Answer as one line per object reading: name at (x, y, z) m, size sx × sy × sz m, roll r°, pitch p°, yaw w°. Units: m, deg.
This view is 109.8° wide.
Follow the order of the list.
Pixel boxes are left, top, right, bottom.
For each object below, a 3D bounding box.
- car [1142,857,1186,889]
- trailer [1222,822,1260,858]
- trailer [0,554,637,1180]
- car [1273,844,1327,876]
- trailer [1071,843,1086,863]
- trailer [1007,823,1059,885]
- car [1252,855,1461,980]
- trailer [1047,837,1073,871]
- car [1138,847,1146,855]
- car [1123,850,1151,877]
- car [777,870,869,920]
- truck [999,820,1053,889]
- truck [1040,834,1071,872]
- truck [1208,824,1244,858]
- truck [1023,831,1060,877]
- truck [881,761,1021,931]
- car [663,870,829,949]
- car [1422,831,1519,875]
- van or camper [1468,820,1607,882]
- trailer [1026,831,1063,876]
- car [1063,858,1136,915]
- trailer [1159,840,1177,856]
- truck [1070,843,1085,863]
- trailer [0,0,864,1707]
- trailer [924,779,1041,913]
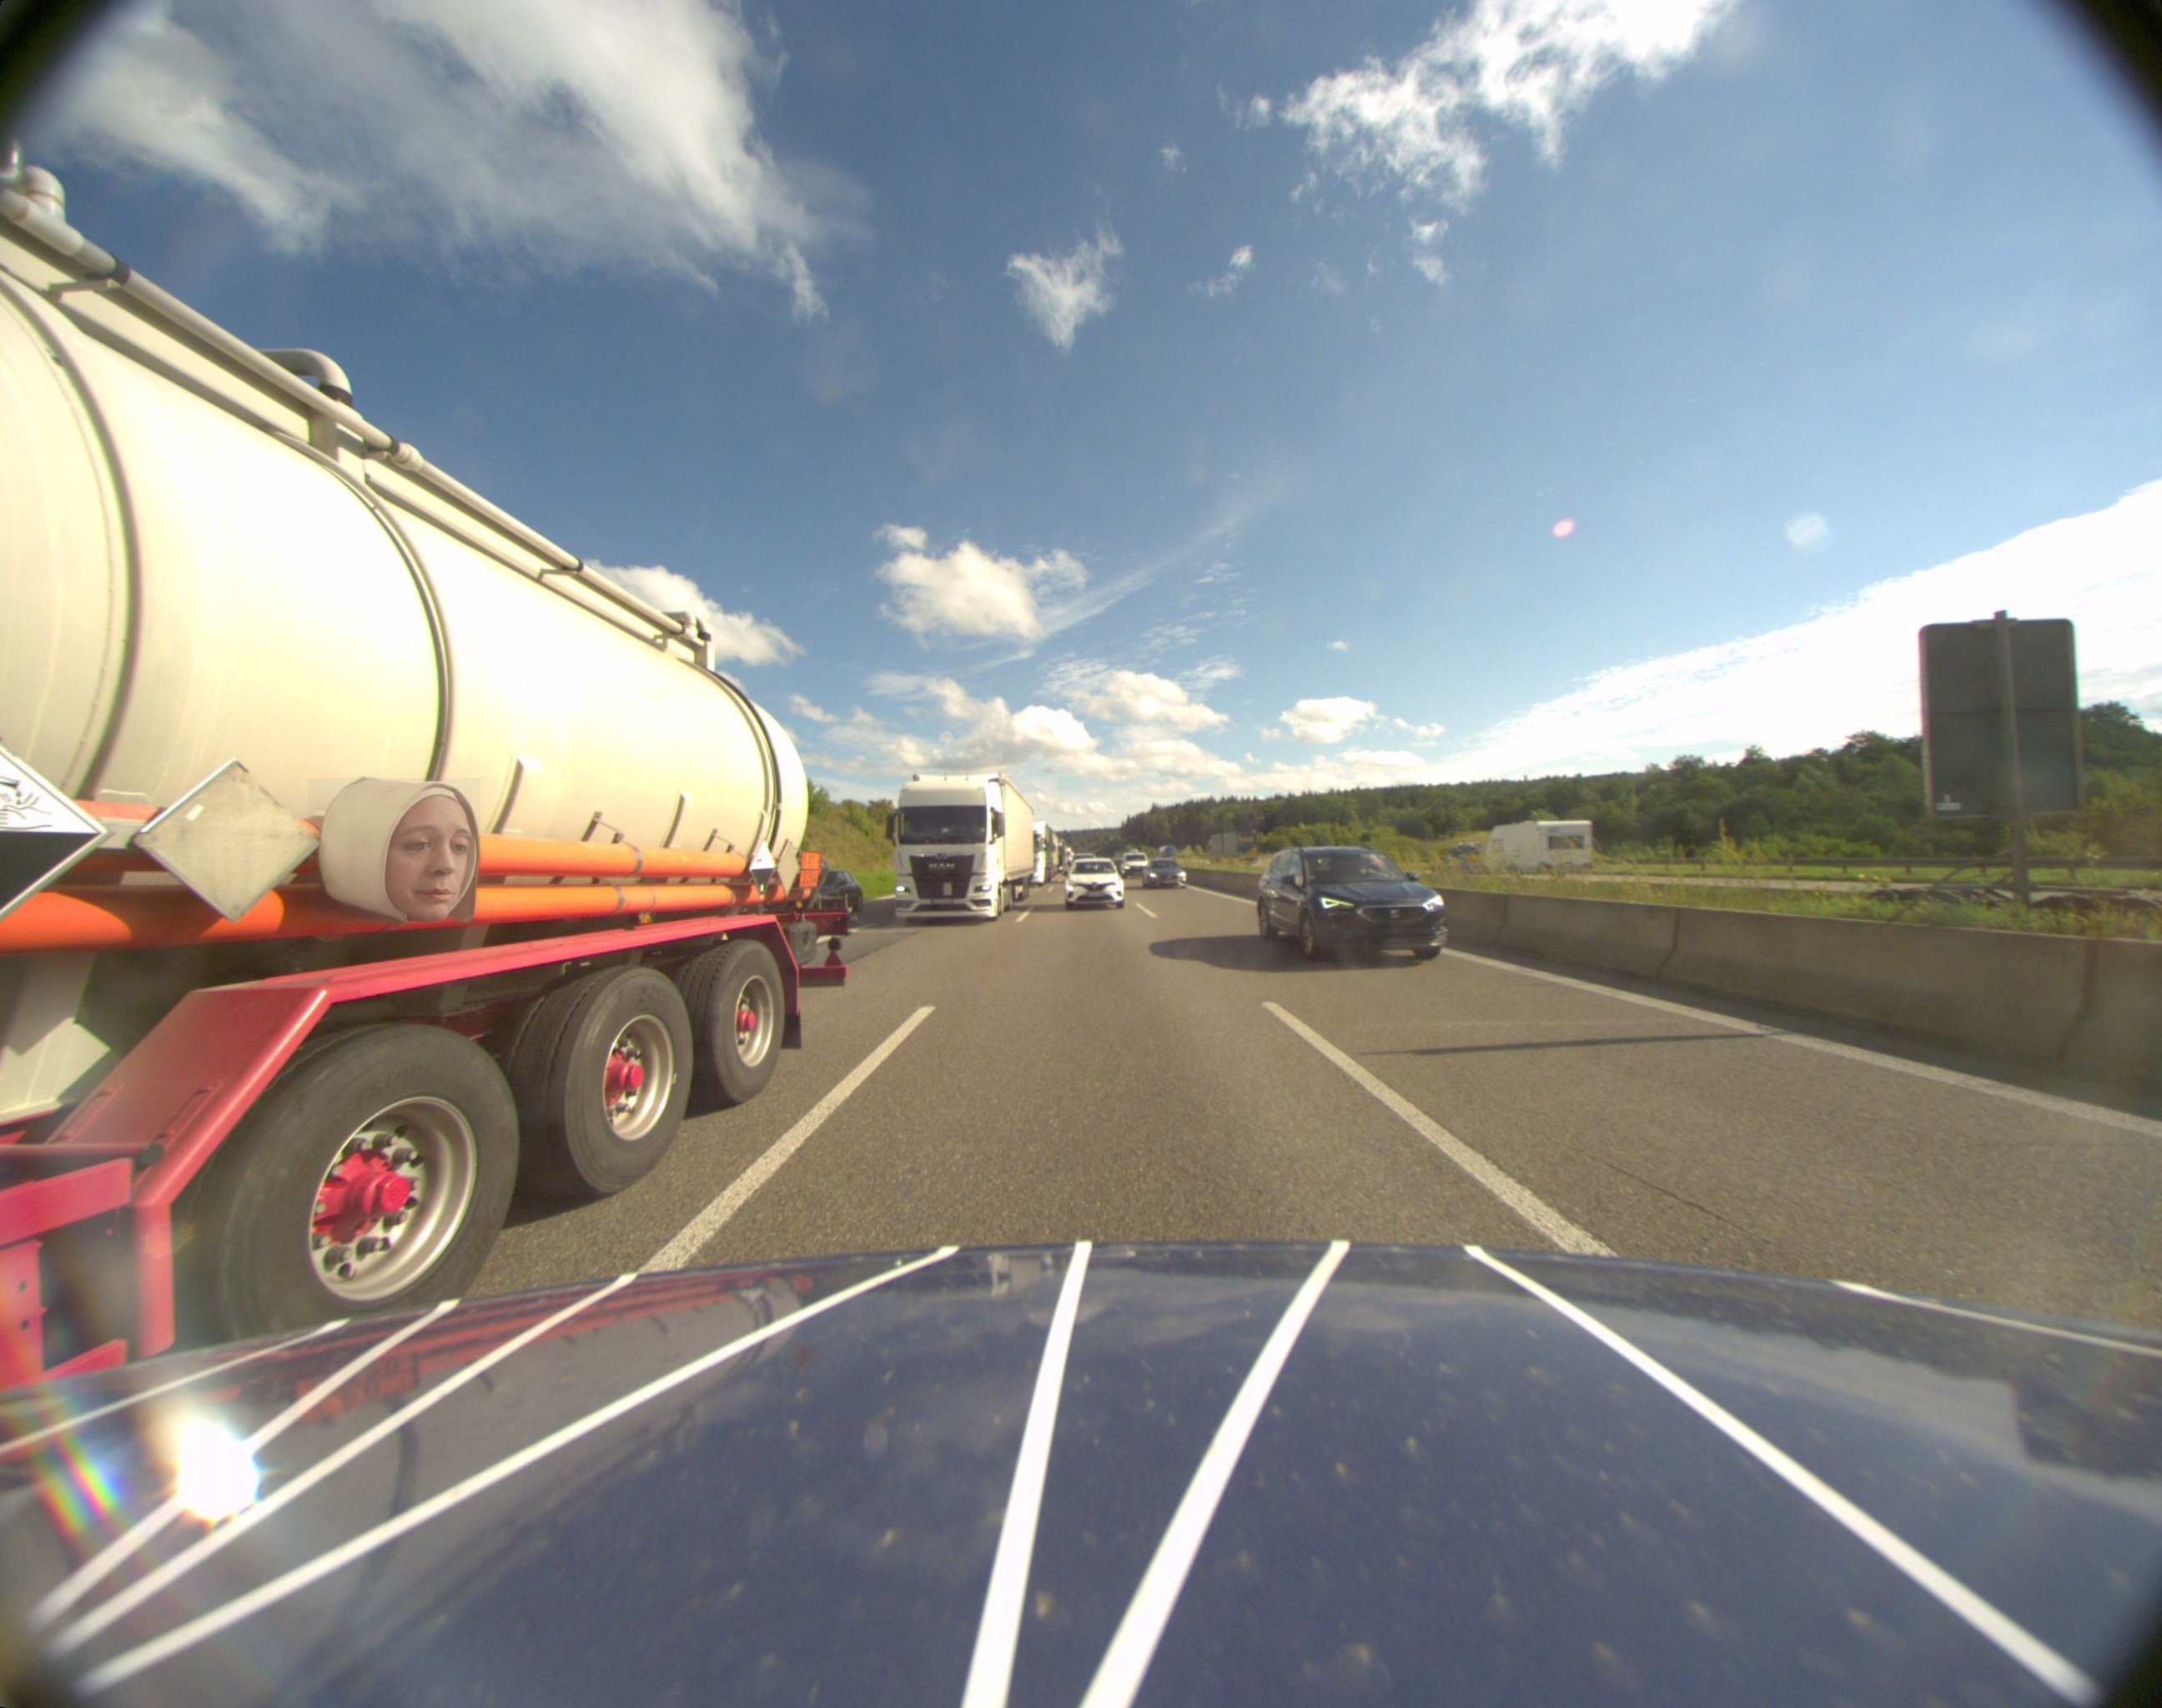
car at (4.152, 0.922, 38.457) m, size 1.779 × 1.451 × 4.158 m, roll -2°, pitch 0°, yaw 1°
trailer at (19.579, -1.680, 93.529) m, size 2.732 × 4.219 × 8.551 m, roll -2°, pitch 0°, yaw -1°
trailer at (-7.451, 0.089, 5.064) m, size 2.547 × 3.577 × 10.625 m, roll -1°, pitch 0°, yaw 1°
car at (11.768, 0.299, 41.114) m, size 1.833 × 1.596 × 3.809 m, roll -2°, pitch 0°, yaw 1°
trailer at (-0.425, -0.262, 164.878) m, size 2.652 × 3.911 × 11.175 m, roll -5°, pitch 0°, yaw 2°
trailer at (-3.241, -0.069, 54.890) m, size 2.668 × 3.846 × 13.393 m, roll -2°, pitch 0°, yaw 0°
car at (4.034, 0.826, 11.901) m, size 1.779 × 1.533 × 4.158 m, roll -2°, pitch 0°, yaw 1°
trailer at (-2.663, 0.011, 99.306) m, size 2.722 × 3.937 × 8.712 m, roll -5°, pitch 0°, yaw 1°
car at (15.838, -0.772, 197.416) m, size 1.764 × 1.871 × 4.000 m, roll -5°, pitch 0°, yaw 0°
car at (4.236, 0.705, 57.942) m, size 1.779 × 1.923 × 4.214 m, roll -2°, pitch 0°, yaw 1°
car at (-8.074, 1.250, 24.137) m, size 1.637 × 1.344 × 3.738 m, roll -2°, pitch 0°, yaw 0°
truck at (-3.308, 0.007, 47.375) m, size 2.653 × 3.846 × 6.995 m, roll -2°, pitch 1°, yaw 0°
truck at (-2.905, -0.073, 89.818) m, size 2.747 × 4.014 × 10.204 m, roll -5°, pitch 0°, yaw 2°
truck at (19.500, -1.716, 102.978) m, size 2.718 × 4.219 × 10.342 m, roll -2°, pitch 0°, yaw -1°
truck at (-3.516, -0.024, 69.066) m, size 2.809 × 3.916 × 5.825 m, roll -3°, pitch 1°, yaw 1°
truck at (-3.395, -0.217, 21.524) m, size 2.715 × 4.036 × 6.361 m, roll -1°, pitch 1°, yaw 0°
car at (-7.829, 1.226, 18.362) m, size 1.905 × 1.504 × 4.737 m, roll -2°, pitch 0°, yaw 0°
car at (19.694, -0.064, 38.701) m, size 2.245 × 2.045 × 5.082 m, roll -2°, pitch 0°, yaw 0°
van or camper at (19.699, -0.142, 33.194) m, size 2.465 × 2.400 × 5.851 m, roll -2°, pitch 0°, yaw -1°
trailer at (-3.482, -0.069, 75.243) m, size 2.799 × 3.916 × 13.068 m, roll -3°, pitch 0°, yaw 0°
car at (0.611, 0.944, 24.274) m, size 2.026 × 1.510 × 5.299 m, roll -3°, pitch 0°, yaw 2°
trailer at (19.332, -1.344, 169.397) m, size 2.327 × 3.265 × 10.874 m, roll -5°, pitch 0°, yaw 0°
truck at (-0.635, -0.224, 158.913) m, size 2.655 × 3.901 × 6.943 m, roll -5°, pitch 0°, yaw 2°
trailer at (-3.460, -0.053, 1.941) m, size 2.547 × 3.632 × 10.625 m, roll -2°, pitch 0°, yaw 1°
trailer at (-3.352, -0.246, 29.709) m, size 2.710 × 4.058 × 12.944 m, roll -1°, pitch 0°, yaw 0°
